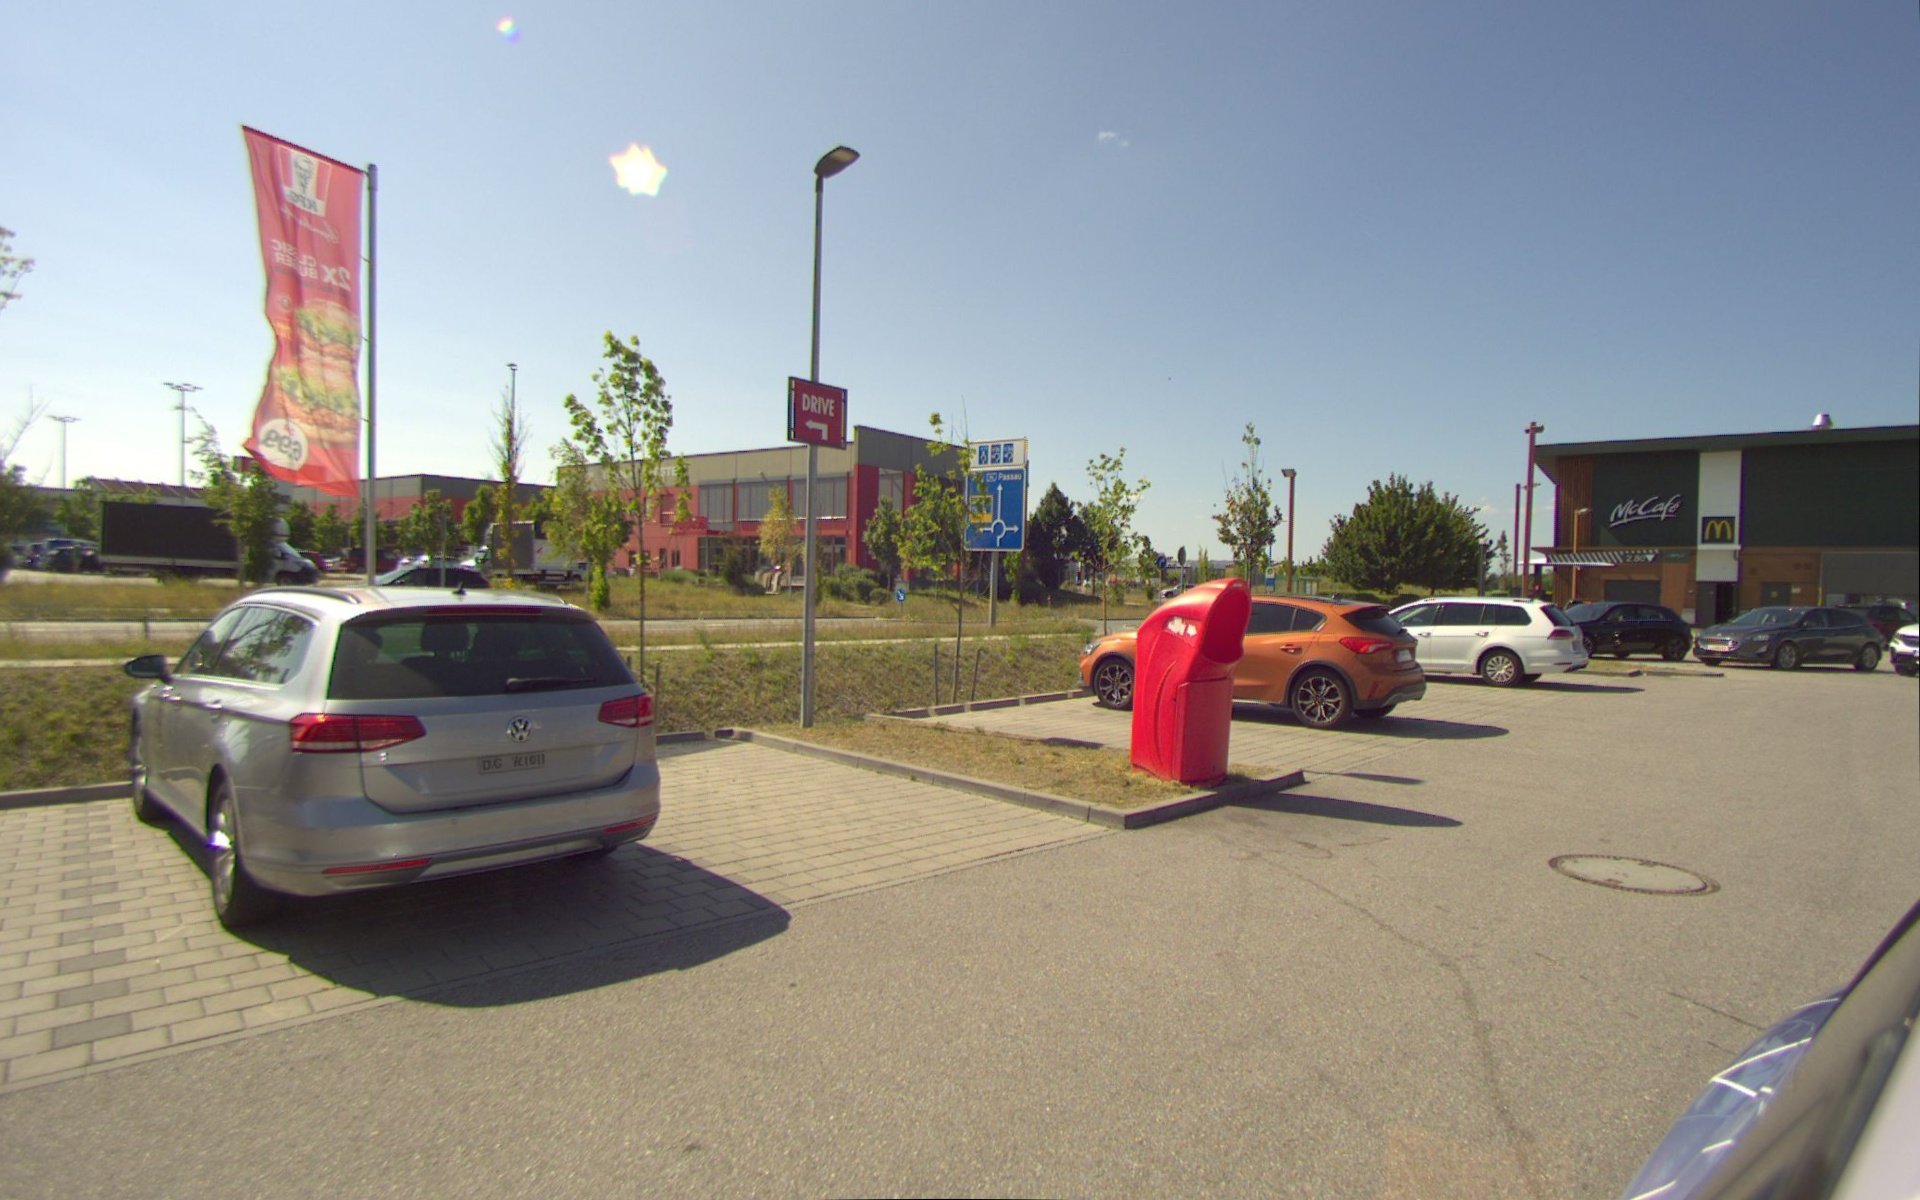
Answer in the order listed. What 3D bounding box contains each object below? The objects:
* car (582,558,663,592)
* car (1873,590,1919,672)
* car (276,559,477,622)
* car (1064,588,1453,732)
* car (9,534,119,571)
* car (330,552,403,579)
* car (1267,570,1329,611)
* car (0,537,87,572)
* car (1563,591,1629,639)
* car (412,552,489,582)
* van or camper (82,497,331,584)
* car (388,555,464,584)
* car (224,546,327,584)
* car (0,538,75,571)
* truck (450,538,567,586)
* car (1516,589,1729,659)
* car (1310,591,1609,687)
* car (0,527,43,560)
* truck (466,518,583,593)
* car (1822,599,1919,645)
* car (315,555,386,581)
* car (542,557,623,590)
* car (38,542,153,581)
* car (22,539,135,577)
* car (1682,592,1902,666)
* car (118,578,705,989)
[{"bbox_3d":[-20.284,-1.491,60.984,1.943,1.879,4.349,2,0,35],"label":"car"},{"bbox_3d":[21.882,0.703,21.404,4.118,1.675,1.980,2,0,-18],"label":"car"},{"bbox_3d":[-16.683,-0.241,29.071,4.719,1.645,1.998,1,0,-39],"label":"car"},{"bbox_3d":[3.586,0.605,12.654,4.336,1.488,1.805,1,0,42],"label":"car"},{"bbox_3d":[-50.632,-2.663,57.259,1.943,1.879,4.349,2,0,35],"label":"car"},{"bbox_3d":[-45.368,-2.592,77.428,1.943,1.879,4.349,2,0,35],"label":"car"},{"bbox_3d":[19.616,-0.529,58.634,1.988,2.224,5.040,2,0,36],"label":"car"},{"bbox_3d":[-55.259,-2.698,60.473,1.943,1.879,4.349,2,0,35],"label":"car"},{"bbox_3d":[25.166,0.551,40.163,1.981,1.712,4.190,2,1,30],"label":"car"},{"bbox_3d":[-35.474,-2.270,70.555,1.943,1.879,4.349,2,0,35],"label":"car"},{"bbox_3d":[-31.101,-2.375,42.184,7.886,3.140,2.424,2,0,-21],"label":"van or camper"},{"bbox_3d":[-38.304,-2.190,72.656,2.035,1.879,4.349,2,0,35],"label":"car"},{"bbox_3d":[-36.756,-1.843,54.451,1.858,1.879,4.214,2,0,35],"label":"car"},{"bbox_3d":[-57.271,-2.773,61.921,1.943,1.879,4.349,2,0,35],"label":"car"},{"bbox_3d":[-29.462,-2.451,66.301,1.943,2.850,6.969,2,0,35],"label":"truck"},{"bbox_3d":[16.565,0.579,25.401,4.243,1.545,1.979,2,1,-11],"label":"car"},{"bbox_3d":[8.743,0.596,17.970,4.464,1.488,1.805,1,0,42],"label":"car"},{"bbox_3d":[-63.755,-3.787,67.229,1.989,2.039,3.945,2,0,38],"label":"car"},{"bbox_3d":[-22.248,-2.220,51.503,6.804,3.524,2.727,2,0,41],"label":"truck"},{"bbox_3d":[35.622,0.835,38.665,4.373,1.622,1.967,2,0,-15],"label":"car"},{"bbox_3d":[-48.076,-2.516,79.878,1.943,1.879,4.349,2,0,35],"label":"car"},{"bbox_3d":[-23.034,-1.583,61.889,1.943,1.879,4.349,2,0,35],"label":"car"},{"bbox_3d":[-46.295,-2.026,54.264,1.943,1.879,4.349,2,0,35],"label":"car"},{"bbox_3d":[-48.707,-2.298,55.984,1.943,1.879,4.349,2,0,35],"label":"car"},{"bbox_3d":[19.121,0.664,23.300,4.118,1.545,1.980,2,0,-18],"label":"car"},{"bbox_3d":[-3.419,0.611,5.765,1.712,1.431,4.588,1,0,-45],"label":"car"}]
